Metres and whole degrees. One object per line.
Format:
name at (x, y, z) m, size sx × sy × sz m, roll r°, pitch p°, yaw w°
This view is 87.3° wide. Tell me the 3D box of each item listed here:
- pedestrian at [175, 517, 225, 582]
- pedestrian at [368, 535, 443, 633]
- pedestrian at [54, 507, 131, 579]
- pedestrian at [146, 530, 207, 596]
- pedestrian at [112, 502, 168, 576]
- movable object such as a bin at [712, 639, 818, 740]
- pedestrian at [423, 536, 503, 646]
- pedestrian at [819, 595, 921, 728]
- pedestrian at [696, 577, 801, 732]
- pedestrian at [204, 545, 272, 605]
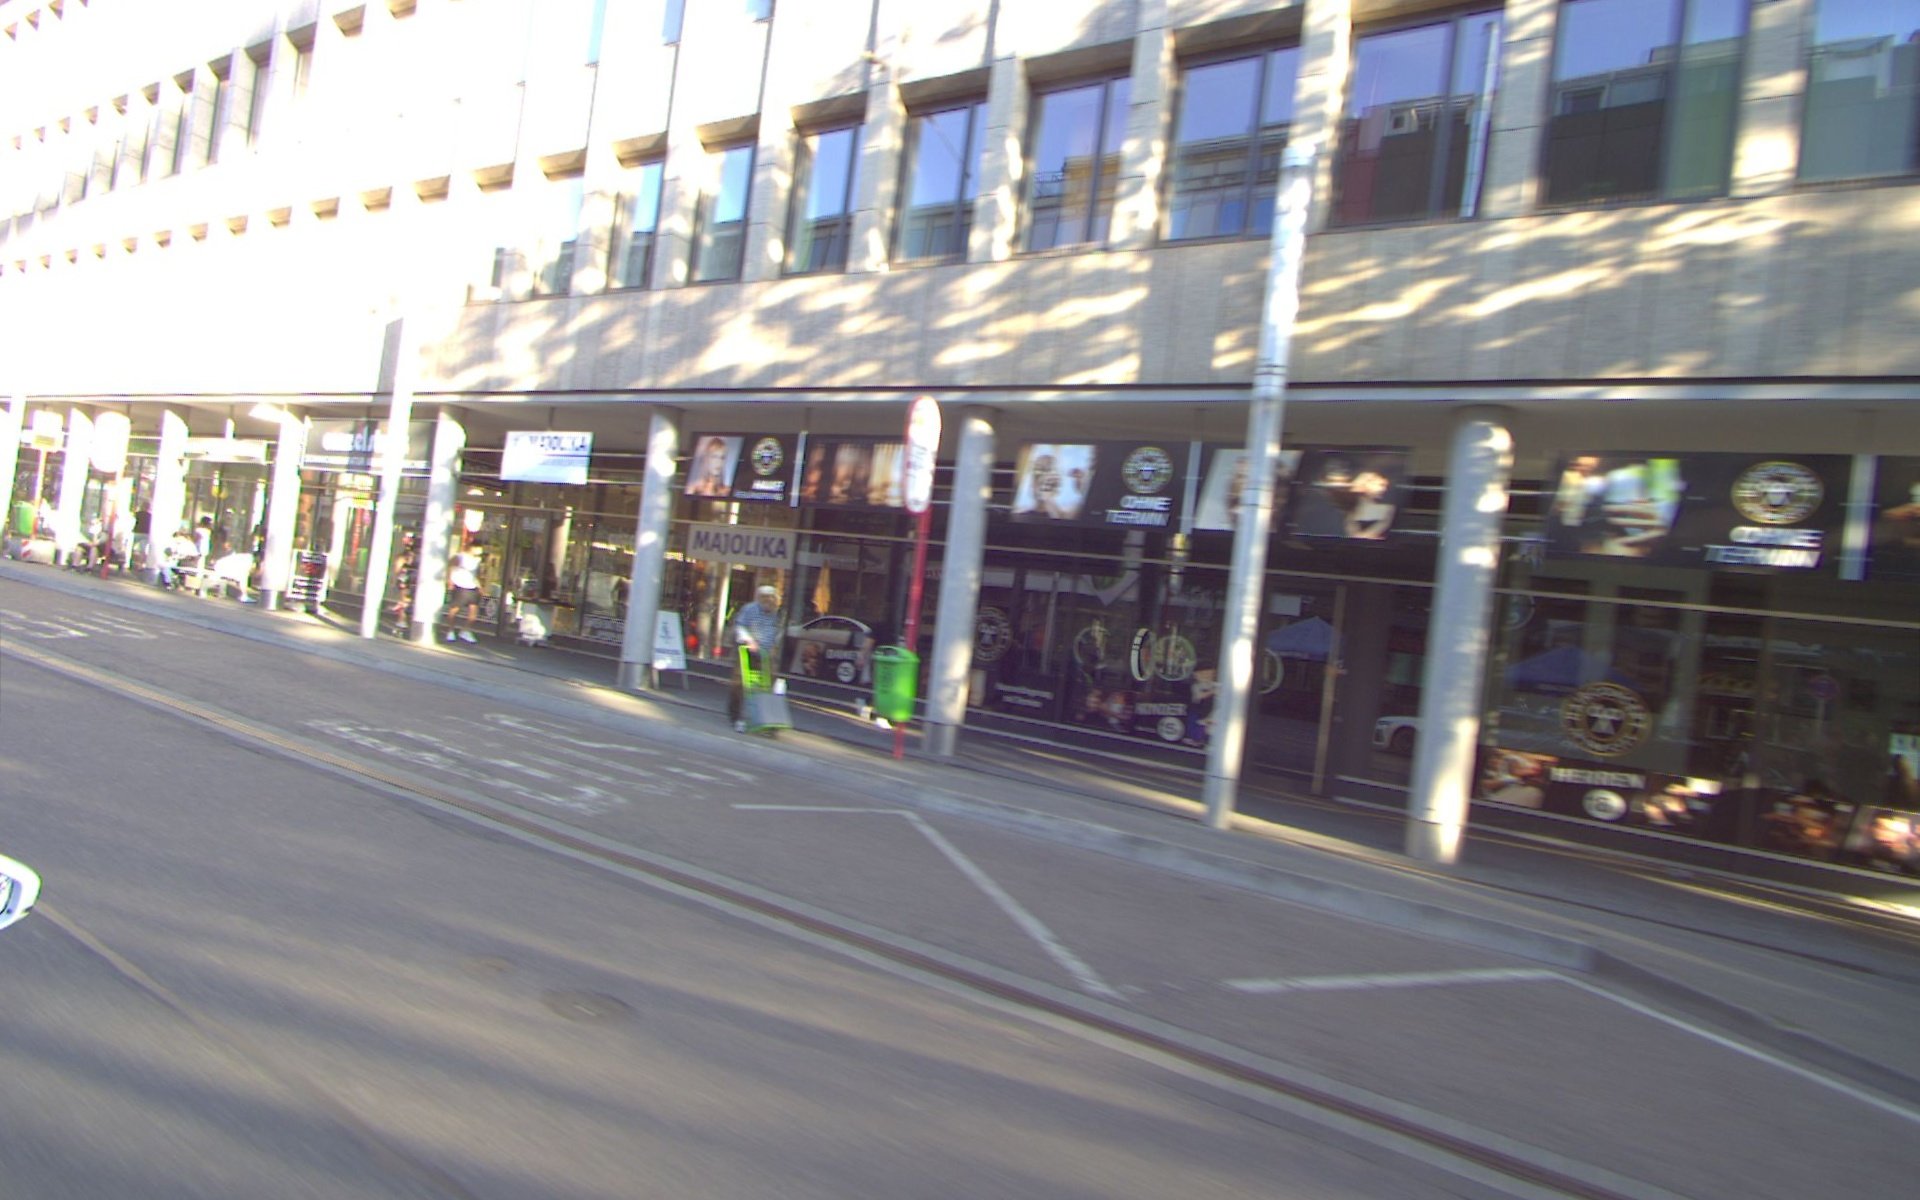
pedestrian at (-19.553, -1.299, 25.887) m, size 0.783 × 1.560 × 0.644 m, roll 7°, pitch -1°, yaw 31°
pedestrian at (-10.587, -0.297, 19.217) m, size 0.843 × 1.720 × 0.745 m, roll 7°, pitch -1°, yaw 31°
pedestrian at (-18.913, -1.225, 21.938) m, size 0.763 × 1.393 × 0.837 m, roll 8°, pitch -1°, yaw 9°
pedestrian at (-15.940, -0.746, 20.466) m, size 0.772 × 1.212 × 0.667 m, roll 7°, pitch -1°, yaw 36°
pedestrian at (-21.078, -1.567, 25.864) m, size 0.821 × 1.761 × 0.717 m, roll 7°, pitch -1°, yaw 31°
movable object such as a bin at (-2.049, 0.953, 10.613) m, size 0.706 × 0.934 × 0.691 m, roll 7°, pitch -2°, yaw 31°
pedestrian at (-8.889, -0.158, 18.008) m, size 0.843 × 1.814 × 0.745 m, roll 7°, pitch -1°, yaw 31°
pedestrian at (-1.185, 0.812, 13.257) m, size 0.910 × 1.608 × 0.697 m, roll 7°, pitch -1°, yaw 31°
pedestrian at (-2.324, 0.607, 11.083) m, size 0.621 × 1.590 × 0.683 m, roll 7°, pitch -2°, yaw 31°
pedestrian at (-14.432, -0.497, 20.120) m, size 0.685 × 1.043 × 0.837 m, roll 7°, pitch -1°, yaw 36°
